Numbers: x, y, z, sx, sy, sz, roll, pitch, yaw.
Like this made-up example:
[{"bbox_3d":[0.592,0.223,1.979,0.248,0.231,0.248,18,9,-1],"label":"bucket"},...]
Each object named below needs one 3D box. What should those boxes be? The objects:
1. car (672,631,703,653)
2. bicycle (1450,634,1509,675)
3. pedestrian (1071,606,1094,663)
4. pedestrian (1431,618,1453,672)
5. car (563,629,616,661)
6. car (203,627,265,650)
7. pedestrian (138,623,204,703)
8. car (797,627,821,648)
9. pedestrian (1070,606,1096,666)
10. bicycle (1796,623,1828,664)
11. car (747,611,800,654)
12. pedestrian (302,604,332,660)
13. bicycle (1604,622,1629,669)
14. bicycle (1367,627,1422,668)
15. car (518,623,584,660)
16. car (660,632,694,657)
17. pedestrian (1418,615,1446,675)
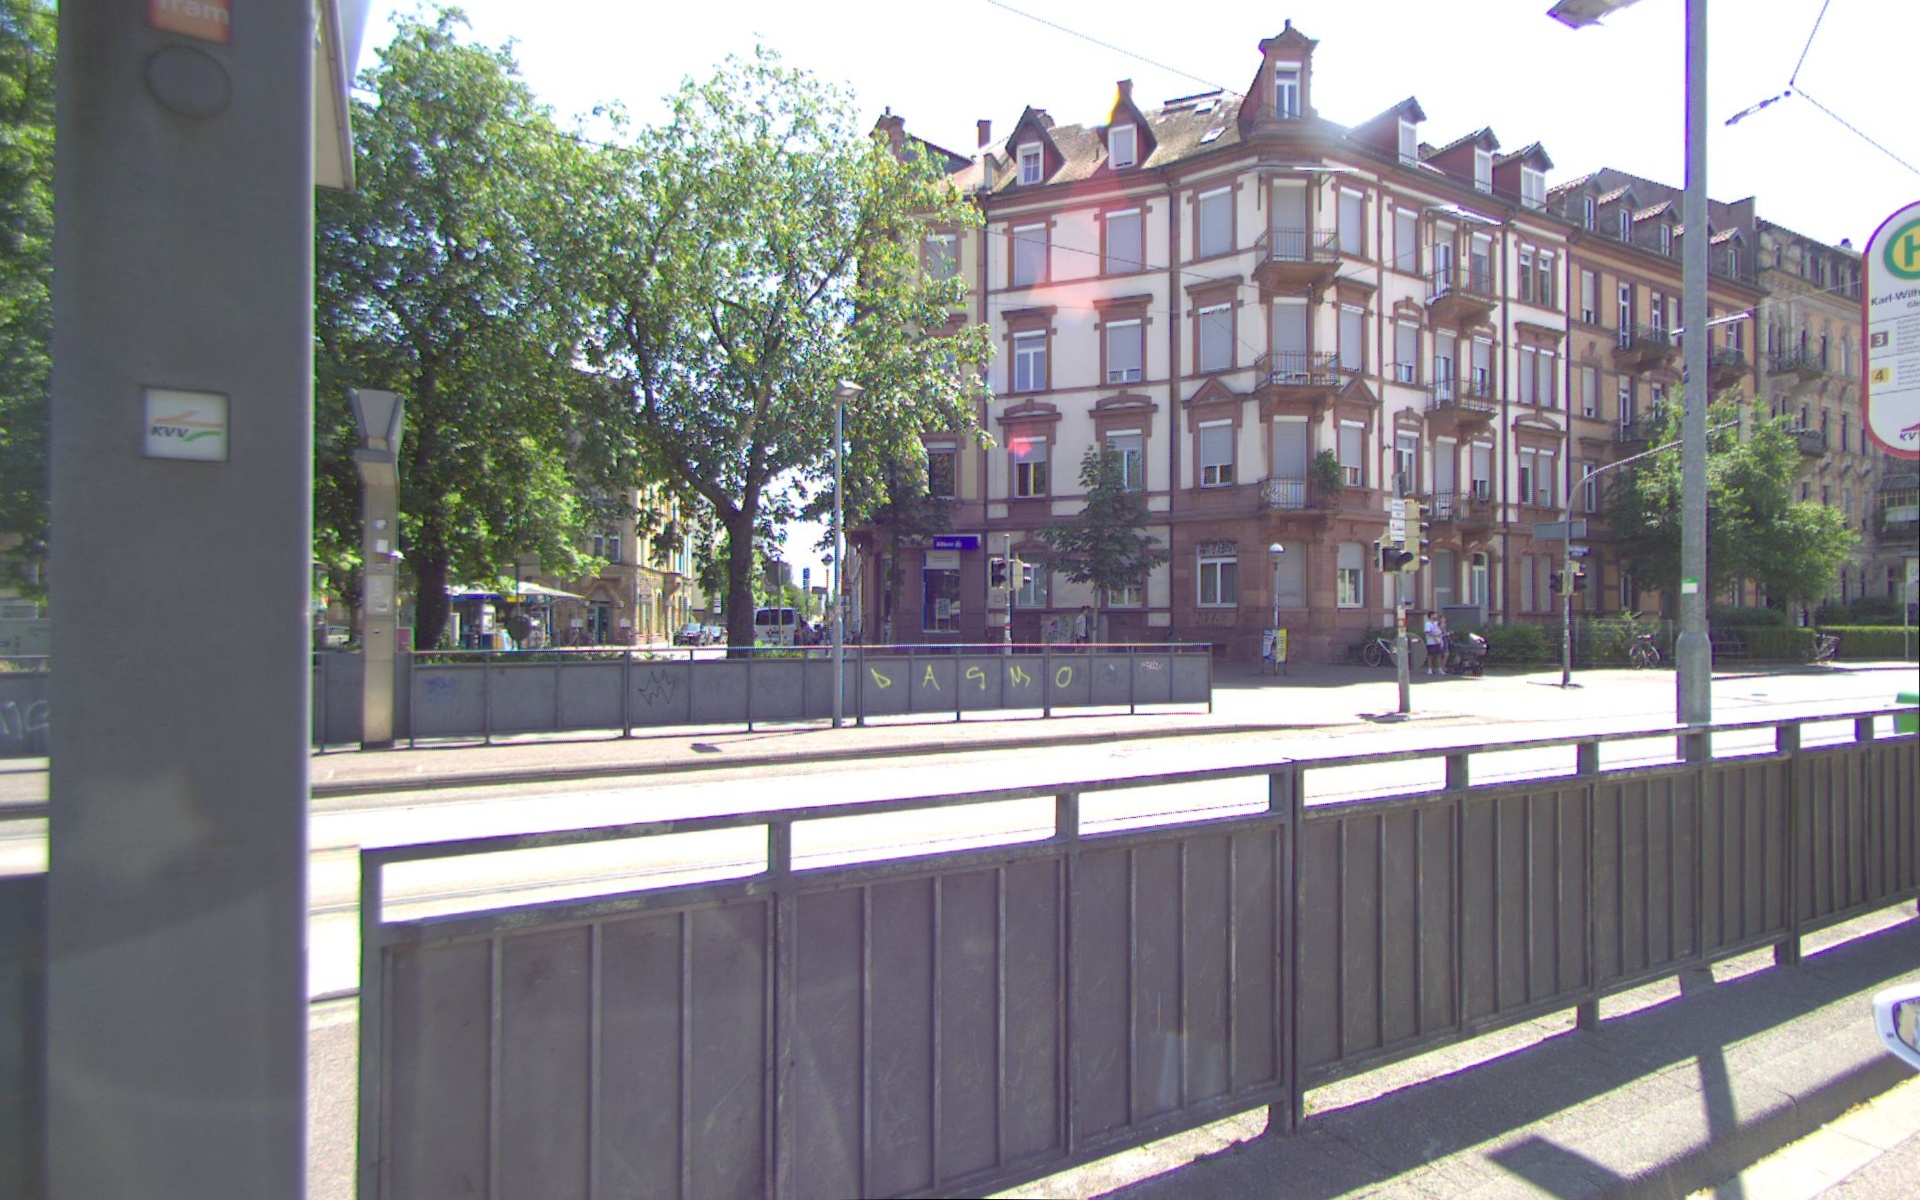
[{"bbox_3d":[-19.469,2.986,71.793,1.512,1.461,3.738,1,-1,-6],"label":"car"},{"bbox_3d":[14.421,1.508,27.919,1.375,1.027,0.389,2,0,21],"label":"bicycle"},{"bbox_3d":[3.923,1.099,32.228,0.500,1.791,0.527,0,-1,39],"label":"pedestrian"},{"bbox_3d":[13.762,1.280,28.684,0.497,1.536,0.469,1,-1,19],"label":"pedestrian"},{"bbox_3d":[-18.763,2.258,51.023,1.512,1.461,3.739,1,-1,-5],"label":"car"},{"bbox_3d":[-29.826,1.568,41.301,0.847,0.877,1.909,0,-1,35],"label":"car"},{"bbox_3d":[-13.398,1.054,17.059,0.607,1.304,0.646,1,-1,21],"label":"pedestrian"},{"bbox_3d":[-11.381,2.785,75.655,1.512,1.461,3.739,1,-1,-5],"label":"car"},{"bbox_3d":[3.844,1.105,31.410,0.556,1.849,0.632,0,-1,39],"label":"pedestrian"},{"bbox_3d":[29.788,1.487,35.141,0.583,1.374,2.433,1,-1,34],"label":"bicycle"},{"bbox_3d":[-6.837,1.174,37.069,1.512,1.461,3.739,1,-1,-5],"label":"car"},{"bbox_3d":[-23.602,1.173,36.864,0.703,2.040,0.811,0,-1,-16],"label":"pedestrian"},{"bbox_3d":[20.373,1.387,31.165,0.606,1.414,2.301,1,-1,34],"label":"bicycle"},{"bbox_3d":[13.144,1.420,30.411,1.494,1.185,0.364,1,1,34],"label":"bicycle"},{"bbox_3d":[-17.497,1.742,43.103,1.512,1.461,3.739,1,-1,-5],"label":"car"},{"bbox_3d":[-18.208,2.839,64.738,1.512,1.461,3.738,1,-1,-6],"label":"car"},{"bbox_3d":[13.223,1.253,28.169,0.641,1.637,0.469,1,2,19],"label":"pedestrian"}]
